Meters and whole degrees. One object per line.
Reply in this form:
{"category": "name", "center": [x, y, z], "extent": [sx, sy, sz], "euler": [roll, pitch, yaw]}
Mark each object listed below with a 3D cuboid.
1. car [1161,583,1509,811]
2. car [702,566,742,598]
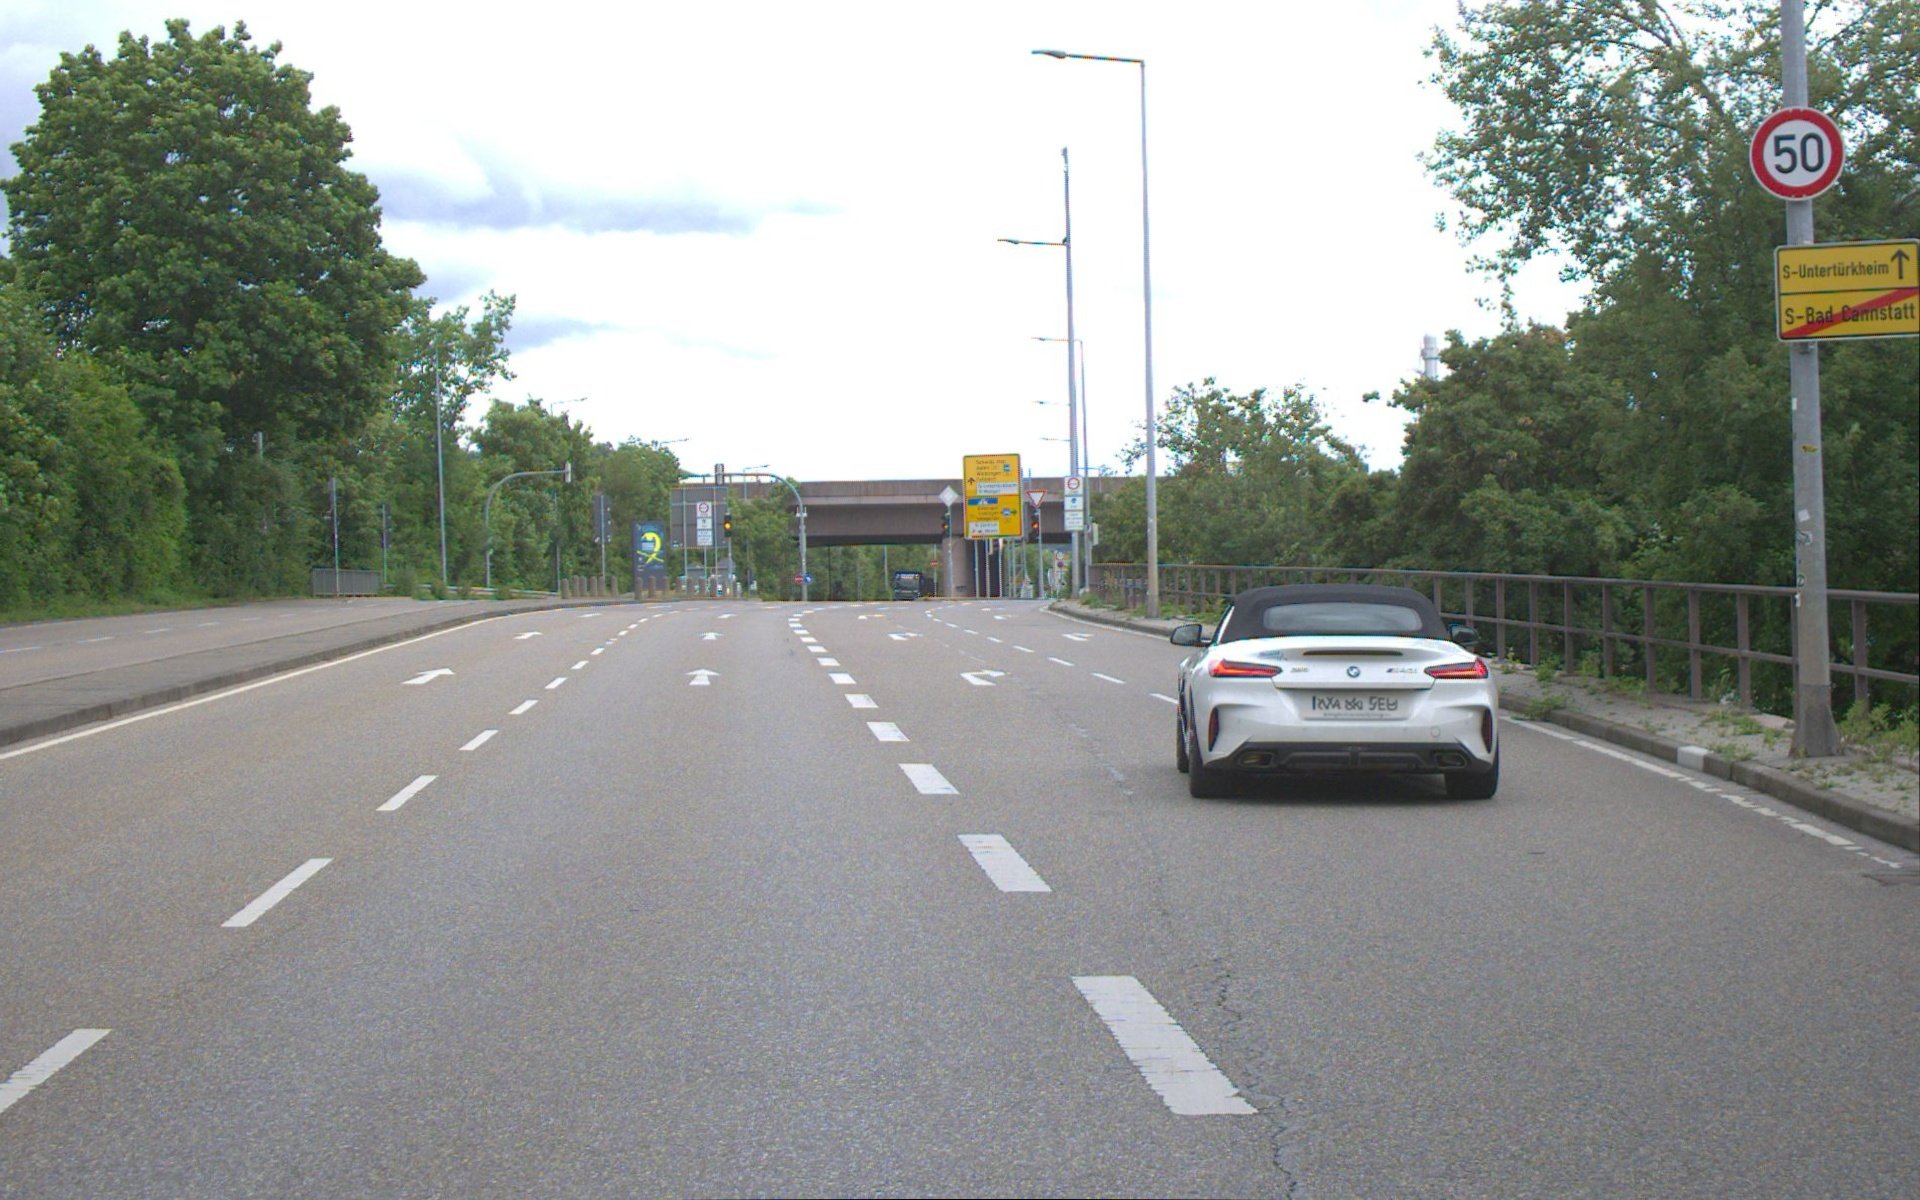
{"category": "car", "center": [2.299, 0.596, 21.989], "extent": [1.875, 1.305, 3.872], "euler": [1, -1, 1]}
{"category": "car", "center": [-12.262, -0.930, 177.379], "extent": [1.771, 1.627, 3.825], "euler": [1, 0, 0]}
